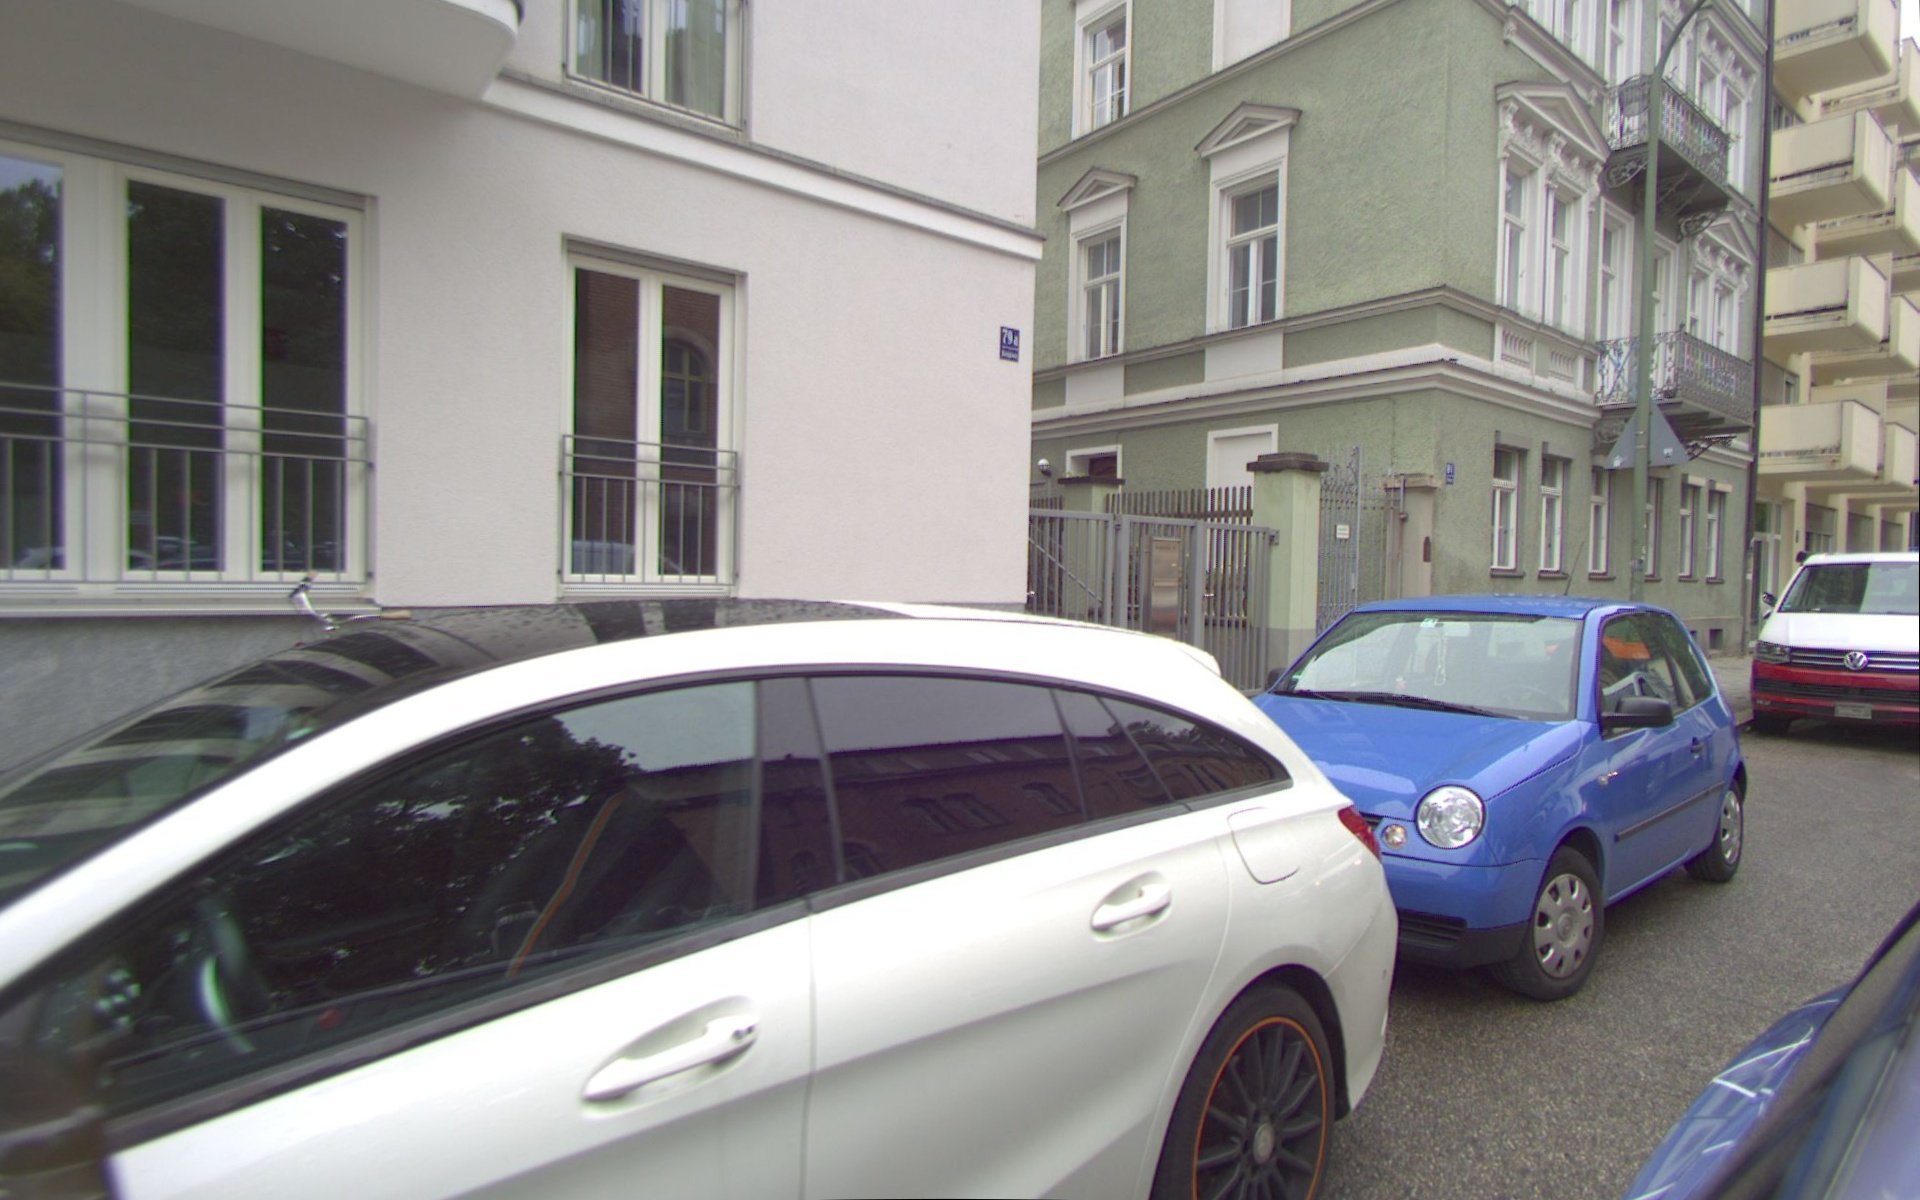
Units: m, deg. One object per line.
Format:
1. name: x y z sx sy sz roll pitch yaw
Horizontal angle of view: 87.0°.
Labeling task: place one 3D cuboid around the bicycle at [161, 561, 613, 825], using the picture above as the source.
1. bicycle: -2.702 0.344 4.907 1.802 1.040 0.679 -3 3 -40

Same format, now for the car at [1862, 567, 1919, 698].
1. car: 14.972 0.457 14.885 4.470 1.780 1.831 1 0 -39

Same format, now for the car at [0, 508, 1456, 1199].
1. car: -0.850 0.653 1.889 4.132 1.458 1.661 0 0 -40

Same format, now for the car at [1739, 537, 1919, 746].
1. car: 10.324 0.380 10.978 4.507 1.920 1.858 0 0 -37

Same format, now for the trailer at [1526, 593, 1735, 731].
1. trailer: 6.834 0.571 10.292 2.122 1.198 0.946 0 5 -33

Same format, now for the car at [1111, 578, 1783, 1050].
1. car: 2.495 0.625 4.832 3.491 1.430 1.621 -1 0 -41
